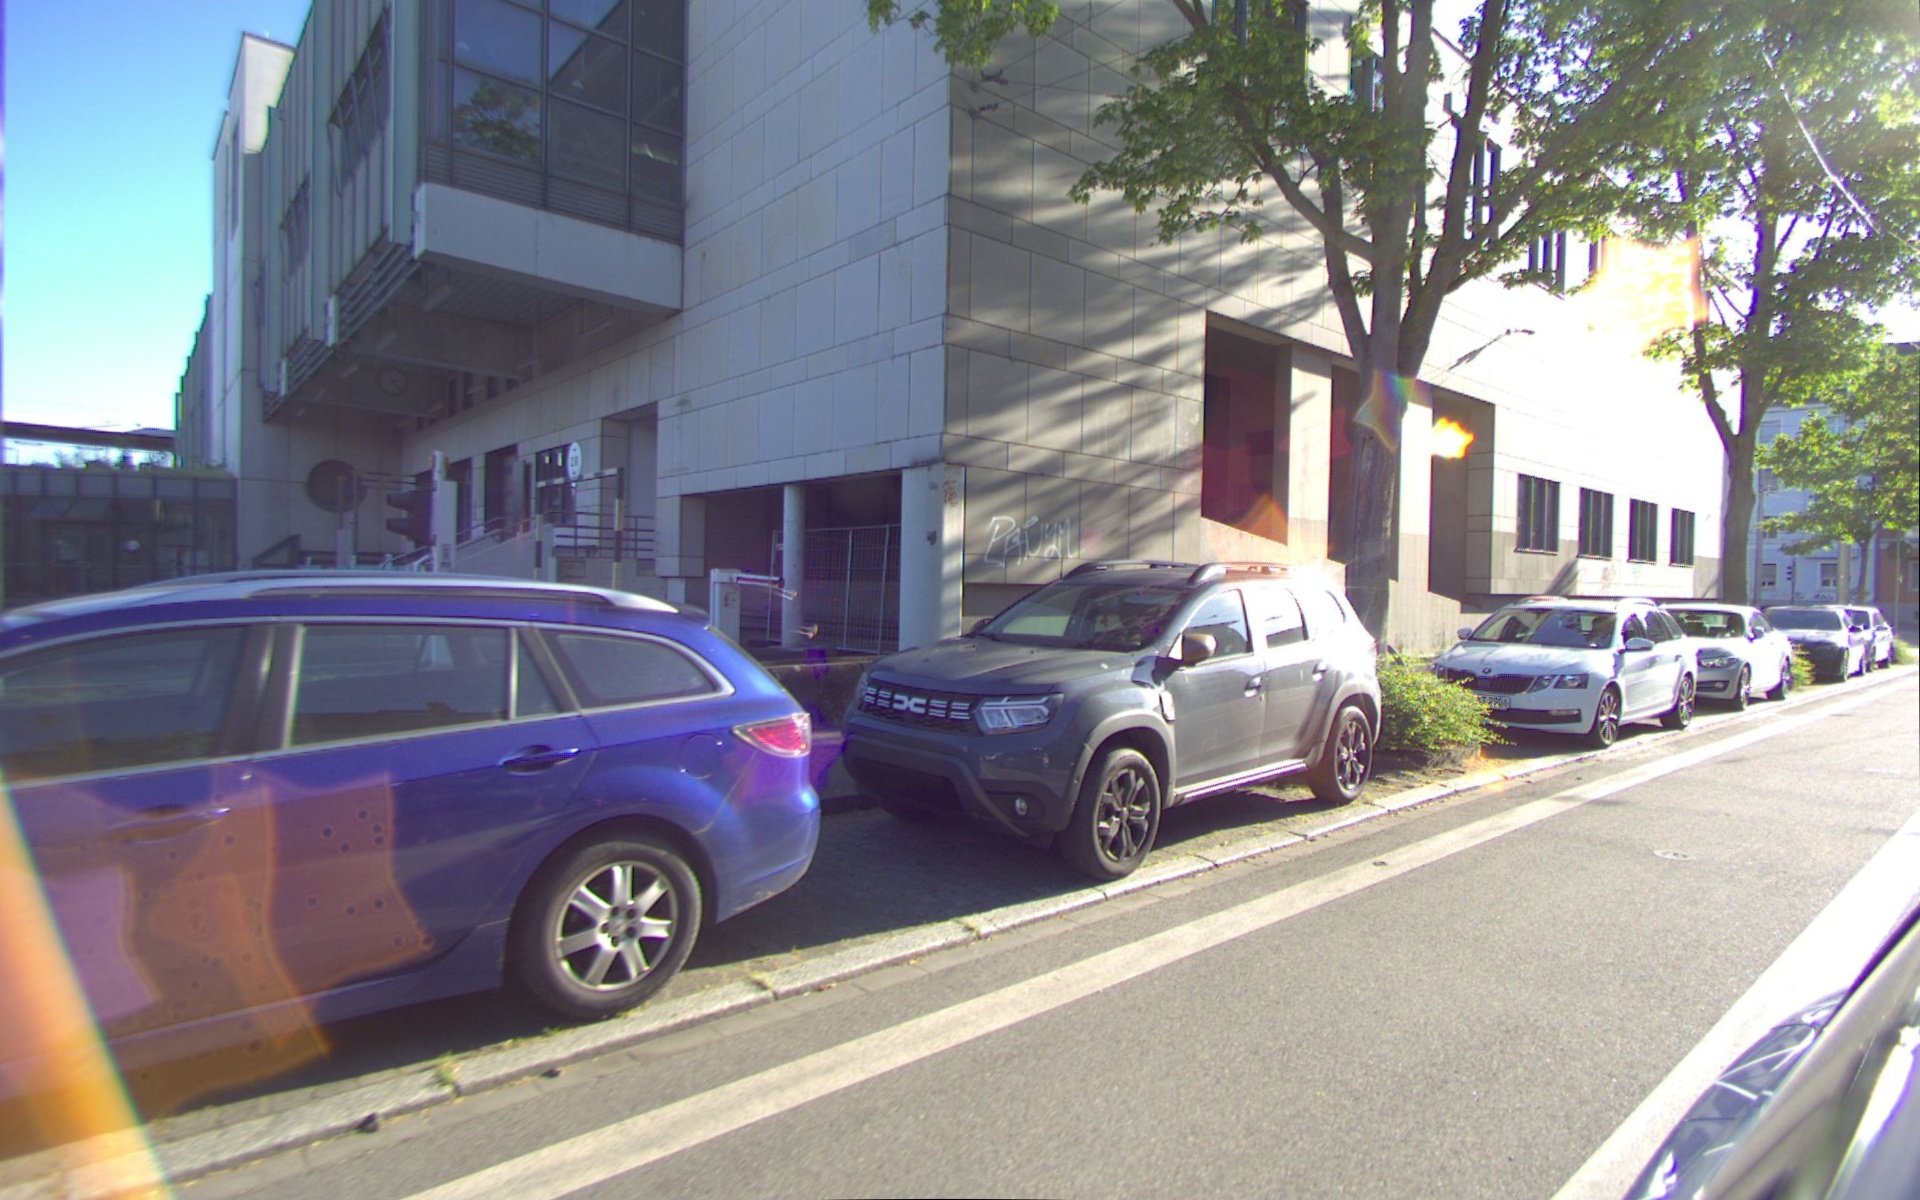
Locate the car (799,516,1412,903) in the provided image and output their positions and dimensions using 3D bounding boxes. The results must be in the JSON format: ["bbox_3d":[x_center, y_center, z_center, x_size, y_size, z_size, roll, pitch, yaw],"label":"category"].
[{"bbox_3d":[1.191,0.457,6.619,4.206,1.733,1.743,-1,1,-43],"label":"car"}]

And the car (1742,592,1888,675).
[{"bbox_3d":[17.736,0.605,20.925,4.582,1.425,1.680,-1,3,-42],"label":"car"}]

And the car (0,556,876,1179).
[{"bbox_3d":[-2.627,0.616,3.274,4.577,1.500,1.706,-1,2,-41],"label":"car"}]

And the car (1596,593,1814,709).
[{"bbox_3d":[11.289,0.647,15.232,4.253,1.425,1.712,-1,3,-41],"label":"car"}]

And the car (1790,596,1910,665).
[{"bbox_3d":[21.604,0.671,24.517,3.930,1.498,1.653,-1,1,-40],"label":"car"}]

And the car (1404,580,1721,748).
[{"bbox_3d":[6.954,0.595,11.464,4.542,1.508,1.716,1,2,-41],"label":"car"}]
